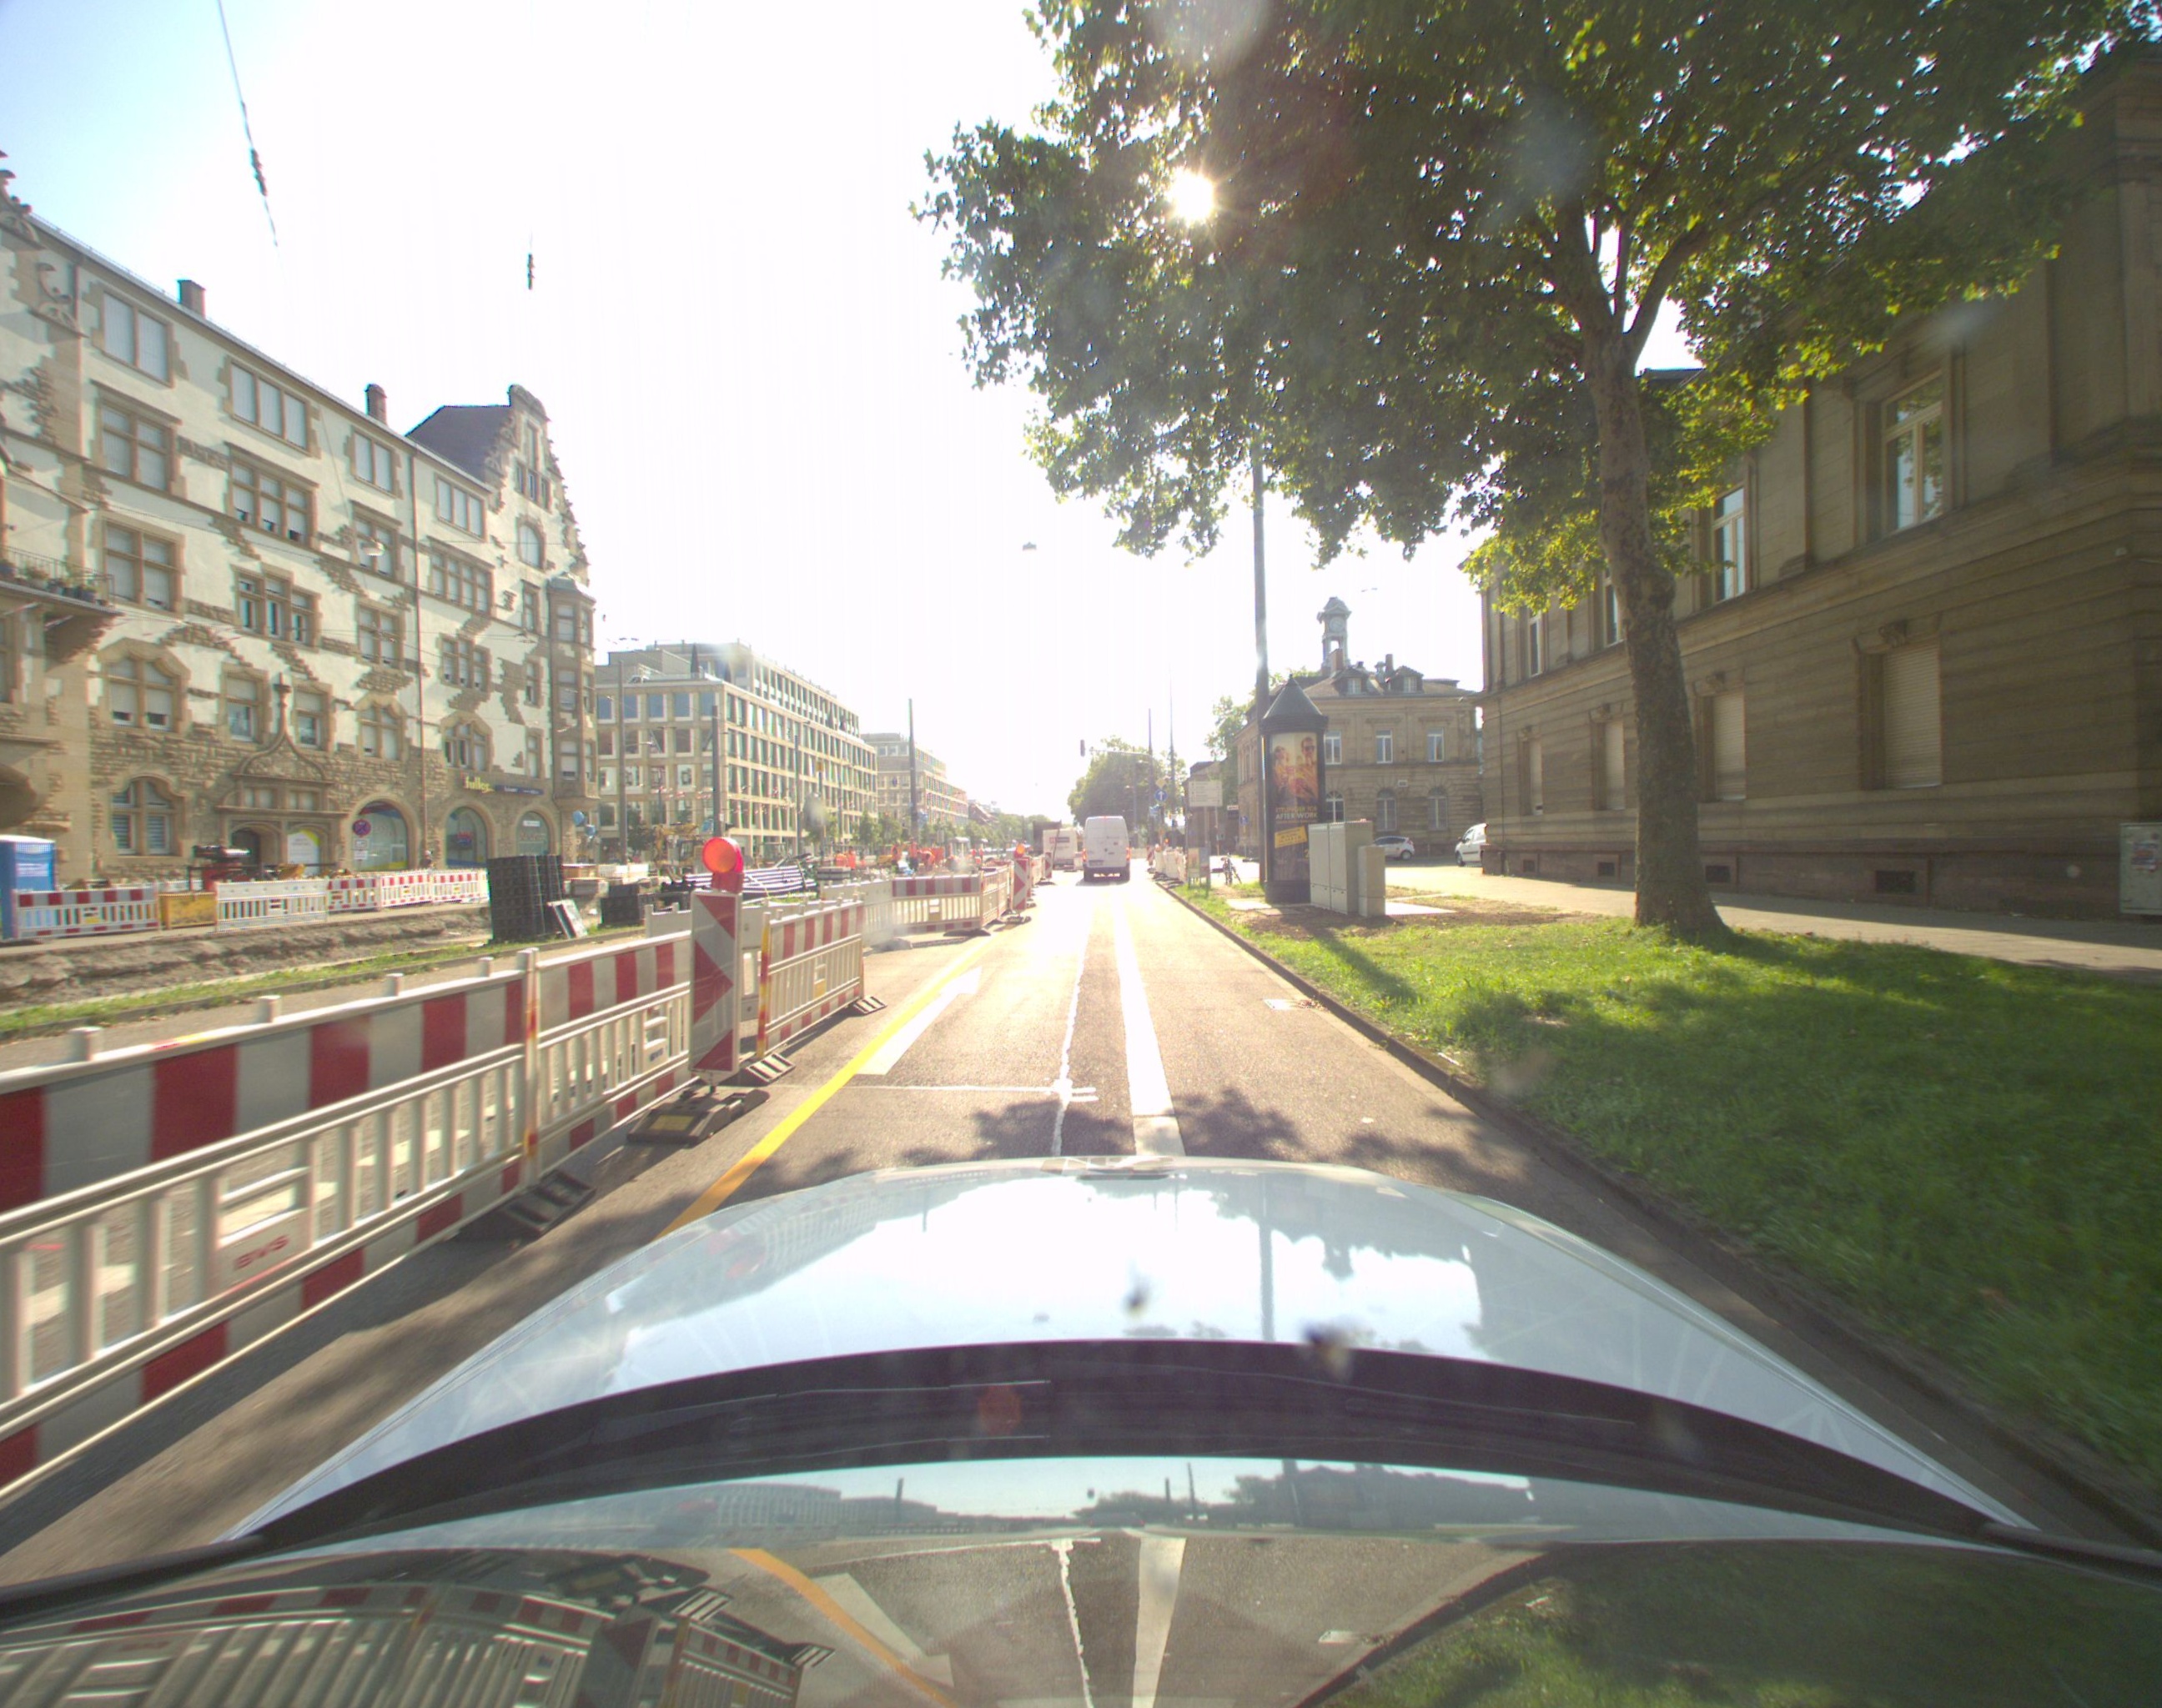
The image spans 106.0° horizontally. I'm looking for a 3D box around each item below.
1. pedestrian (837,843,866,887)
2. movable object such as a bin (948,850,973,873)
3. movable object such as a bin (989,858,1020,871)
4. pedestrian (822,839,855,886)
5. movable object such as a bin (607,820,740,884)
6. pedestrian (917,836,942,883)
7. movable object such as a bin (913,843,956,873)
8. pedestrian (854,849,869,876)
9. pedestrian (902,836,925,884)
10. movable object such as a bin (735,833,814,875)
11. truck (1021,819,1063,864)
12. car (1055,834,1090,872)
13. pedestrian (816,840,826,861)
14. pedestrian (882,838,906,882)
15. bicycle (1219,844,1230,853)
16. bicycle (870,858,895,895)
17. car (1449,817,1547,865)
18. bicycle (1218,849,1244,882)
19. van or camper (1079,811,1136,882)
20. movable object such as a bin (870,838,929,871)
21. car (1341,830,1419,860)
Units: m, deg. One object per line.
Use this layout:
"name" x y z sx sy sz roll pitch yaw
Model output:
"pedestrian" -9.562 0.449 33.896 0.835 1.809 0.745 -2 0 -44
"movable object such as a bin" -6.708 0.419 45.464 0.883 1.211 2.214 -2 0 3
"movable object such as a bin" -4.396 0.615 46.971 1.701 0.713 0.722 -2 0 34
"pedestrian" -9.637 0.347 32.375 0.821 1.816 0.888 -2 0 16
"movable object such as a bin" -30.502 -0.082 61.218 7.305 4.347 4.988 -2 -1 14
"pedestrian" -6.321 0.216 33.986 0.717 1.926 0.677 -2 0 -36
"movable object such as a bin" -8.048 0.196 45.079 1.593 1.558 3.289 -2 0 3
"pedestrian" -16.231 0.633 60.211 0.781 1.912 0.725 -2 0 10
"pedestrian" -7.229 0.248 35.182 0.700 2.015 0.667 -2 0 -36
"movable object such as a bin" -22.382 -0.008 59.552 4.838 2.834 2.422 -2 0 -37
"truck" -3.706 -1.174 75.504 2.793 3.912 8.387 0 1 -11
"car" -0.524 -0.079 58.465 2.199 2.424 7.201 -2 0 1
"pedestrian" -24.126 -0.318 75.569 0.756 1.865 0.804 -1 0 -23
"pedestrian" -8.014 0.256 34.943 0.715 1.870 0.710 -2 0 9
"bicycle" 16.567 -0.605 94.242 0.492 0.999 1.807 -2 3 -18
"bicycle" -6.159 0.683 25.350 0.562 1.098 1.962 0 -1 -8
"car" 17.062 -0.511 33.555 1.896 1.783 4.227 -3 0 2
"bicycle" 4.900 0.362 26.669 0.536 1.006 1.572 -3 0 2
"van or camper" 1.081 -0.345 35.409 2.109 2.681 5.250 -4 1 0
"movable object such as a bin" -17.436 0.099 78.959 3.600 2.958 8.478 0 -1 1
"car" 17.546 -0.507 47.891 3.978 1.536 1.668 -3 0 6
